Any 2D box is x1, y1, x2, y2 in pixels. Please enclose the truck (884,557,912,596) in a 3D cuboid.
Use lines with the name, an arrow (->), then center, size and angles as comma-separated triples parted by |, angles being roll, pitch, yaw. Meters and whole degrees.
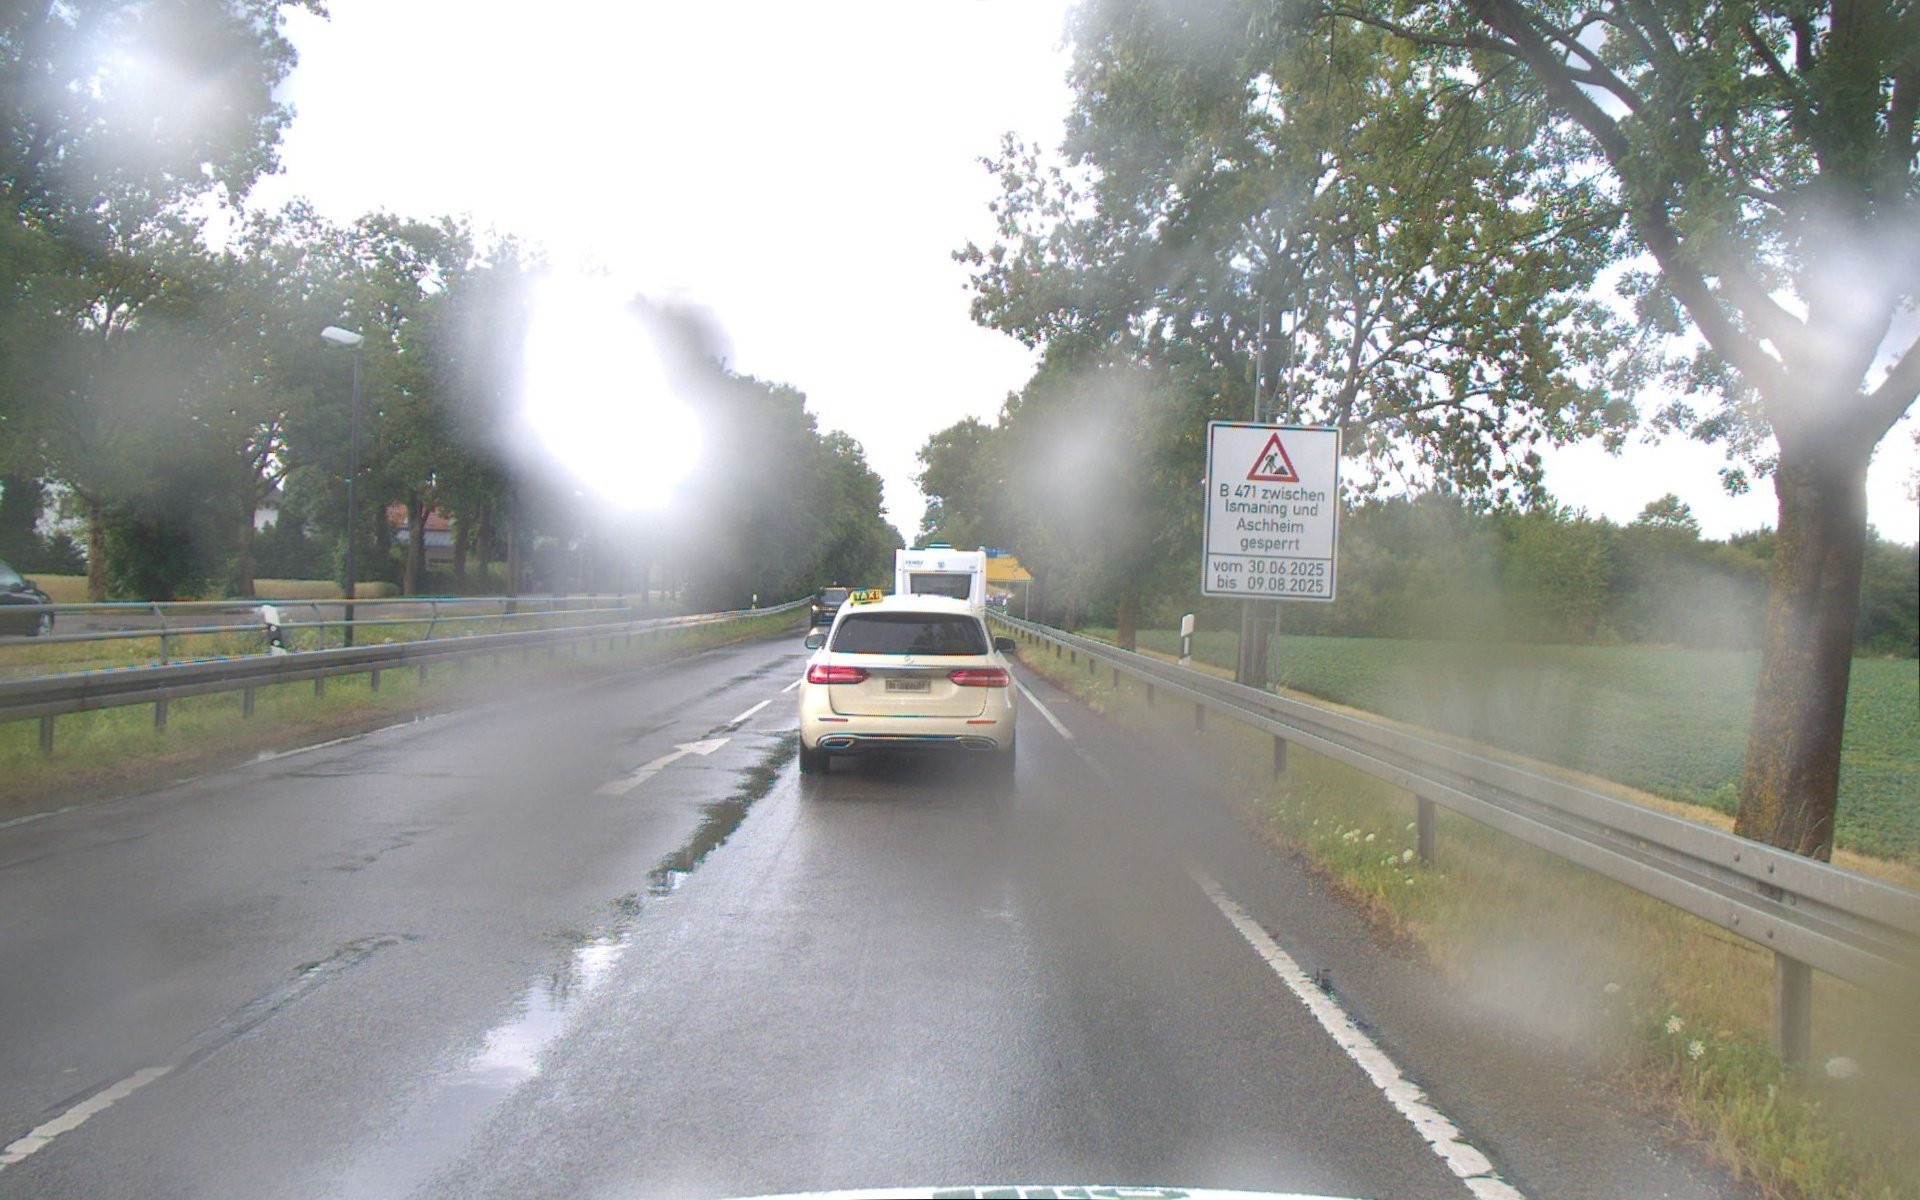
truck -> -5.790, -2.196, 155.704 | 2.524, 3.512, 9.552 | 0, 0, -2

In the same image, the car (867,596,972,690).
car -> -0.624, 0.663, 27.794 | 1.630, 1.456, 4.000 | 0, 0, 0

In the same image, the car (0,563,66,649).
car -> -15.645, 0.076, 26.057 | 1.258, 1.354, 3.894 | 2, 0, -5

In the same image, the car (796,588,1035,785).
car -> -0.332, 0.655, 14.691 | 1.826, 1.502, 4.000 | 0, 0, 0

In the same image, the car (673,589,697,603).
car -> -28.632, -0.410, 172.370 | 1.749, 1.440, 4.000 | 2, 0, 0

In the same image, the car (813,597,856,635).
car -> -5.645, 0.712, 74.988 | 1.728, 1.647, 3.999 | 0, 0, -1

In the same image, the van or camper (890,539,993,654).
van or camper -> -0.442, -0.106, 42.967 | 2.438, 2.732, 5.700 | 1, 0, 0
